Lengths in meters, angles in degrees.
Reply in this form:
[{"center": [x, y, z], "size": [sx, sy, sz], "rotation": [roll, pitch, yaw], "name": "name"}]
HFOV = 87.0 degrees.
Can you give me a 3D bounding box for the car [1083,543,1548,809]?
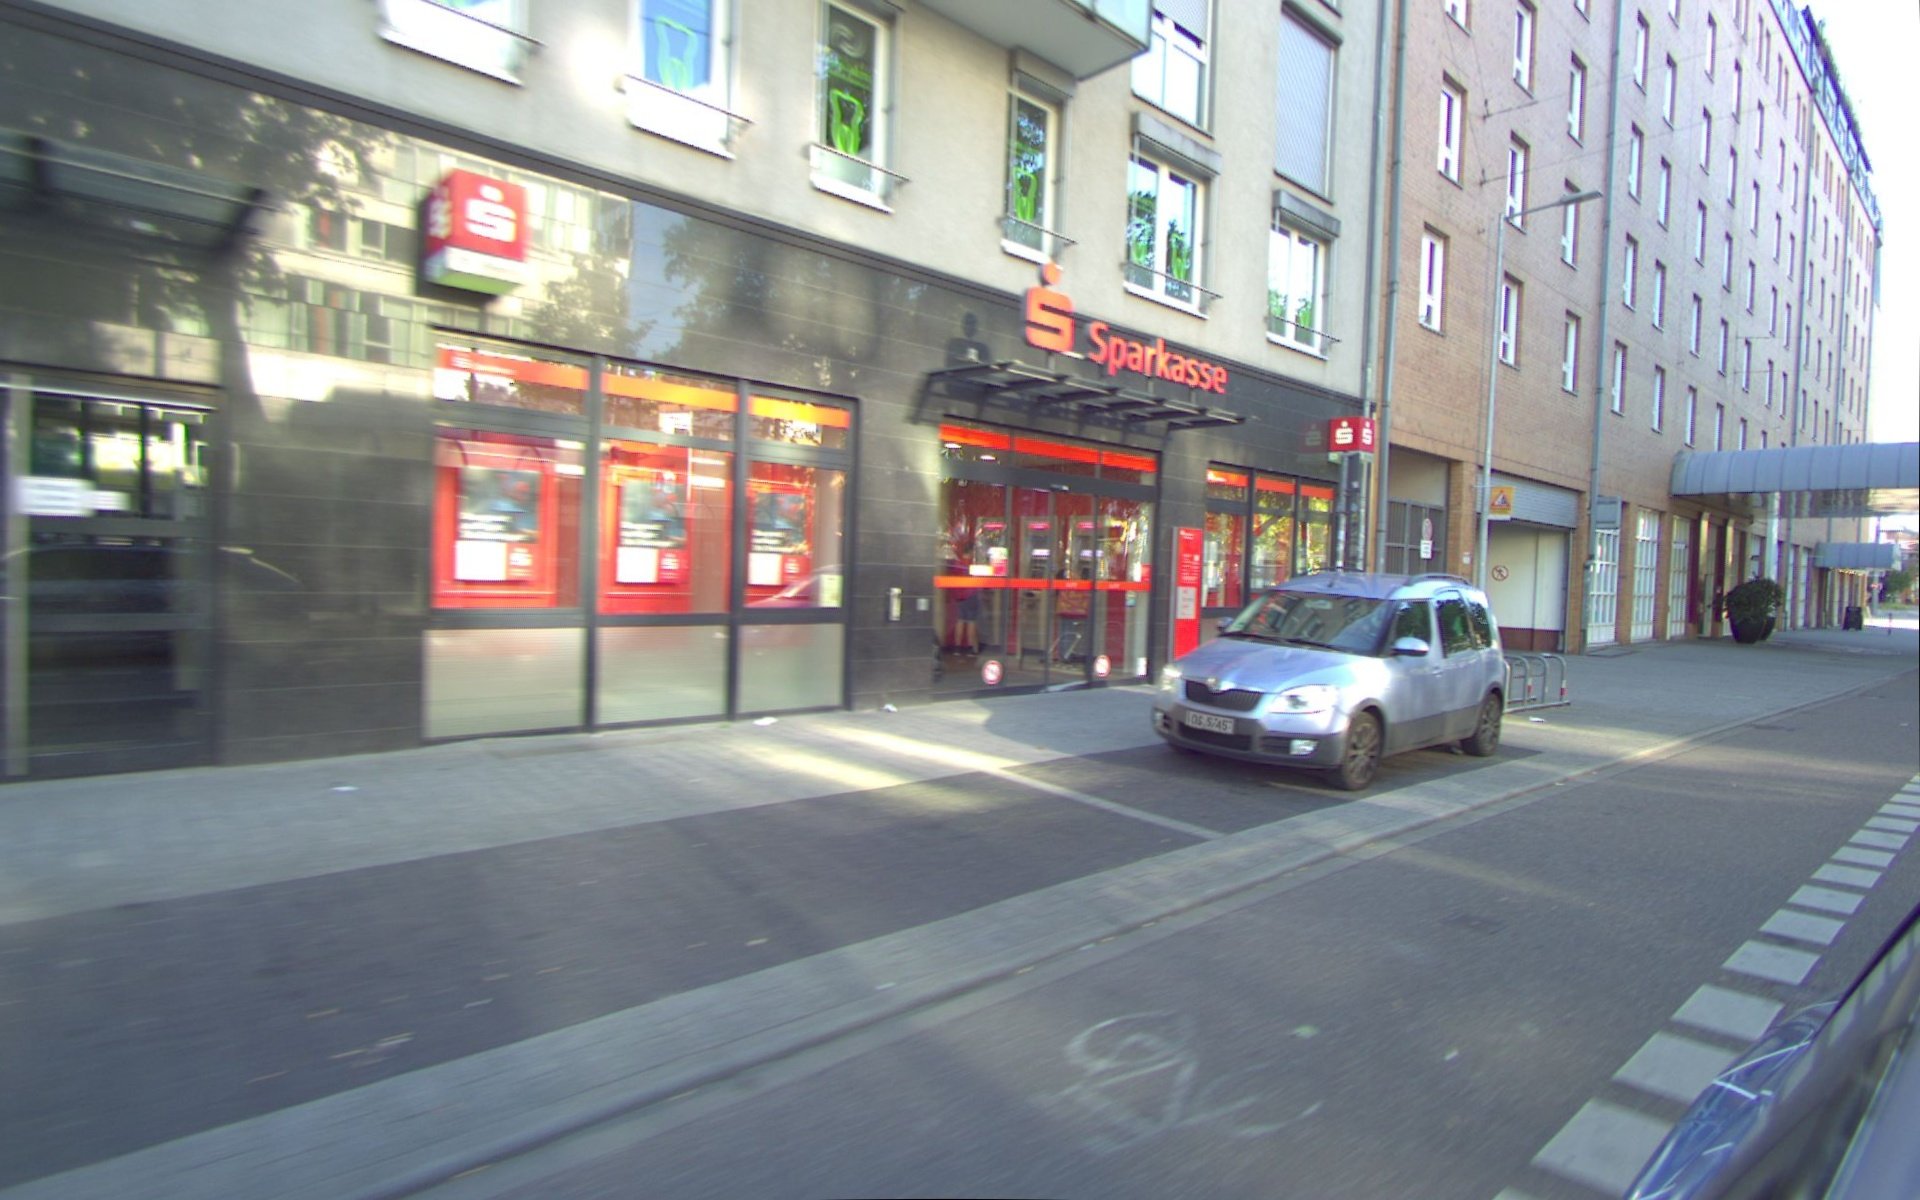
[{"center": [3.196, 0.464, 8.676], "size": [4.210, 1.642, 1.837], "rotation": [0, 5, -41], "name": "car"}]
